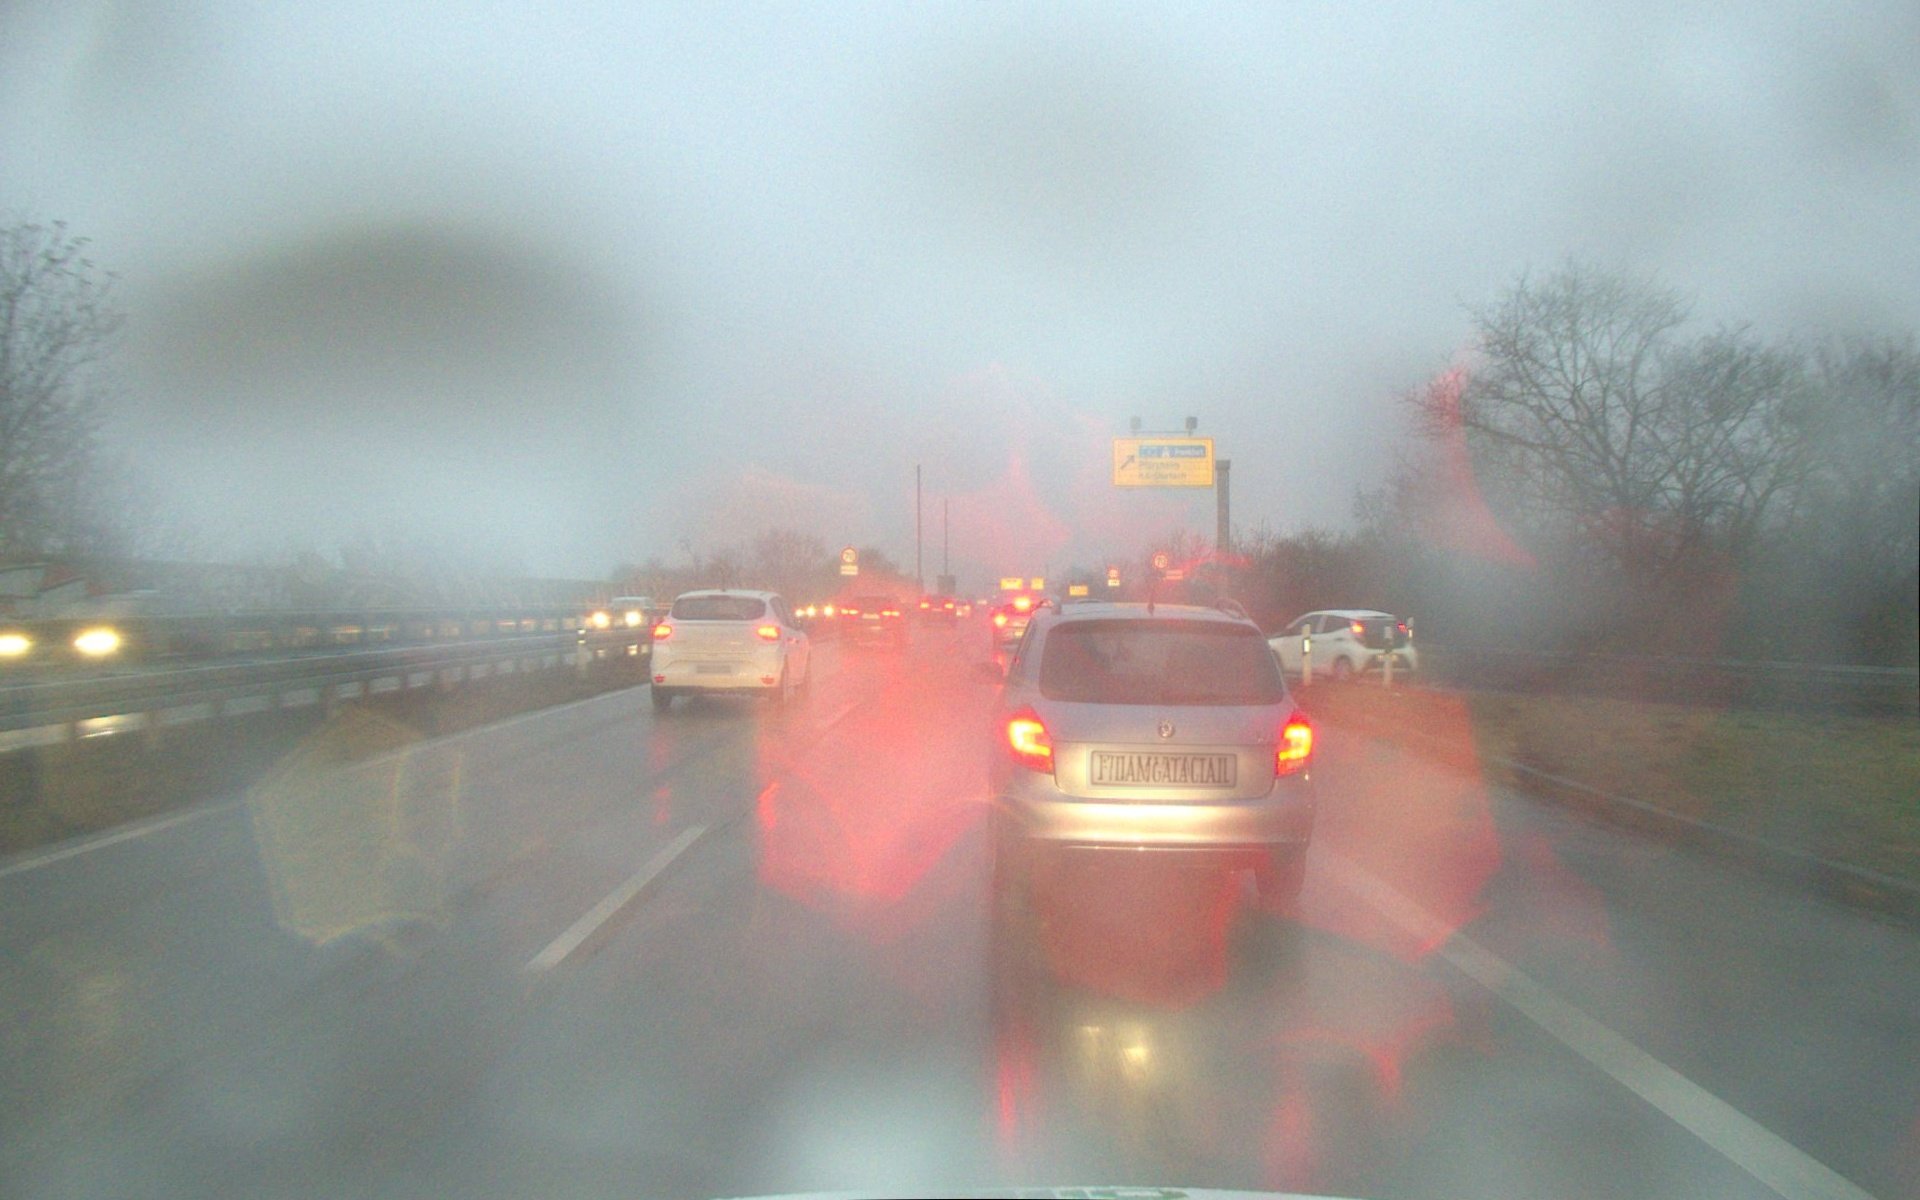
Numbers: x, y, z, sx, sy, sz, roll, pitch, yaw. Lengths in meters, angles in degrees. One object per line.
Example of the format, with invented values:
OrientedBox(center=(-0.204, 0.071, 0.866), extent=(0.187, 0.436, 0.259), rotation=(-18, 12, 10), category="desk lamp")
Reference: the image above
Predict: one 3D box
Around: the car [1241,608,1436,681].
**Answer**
OrientedBox(center=(7.683, 0.860, 33.905), extent=(1.967, 1.369, 3.971), rotation=(0, 0, -23), category="car")

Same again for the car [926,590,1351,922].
OrientedBox(center=(0.858, 0.730, 9.715), extent=(1.952, 1.527, 4.138), rotation=(0, 0, 1), category="car")

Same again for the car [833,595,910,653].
OrientedBox(center=(-2.609, 0.687, 49.535), extent=(1.952, 1.629, 4.309), rotation=(2, 0, 1), category="car")

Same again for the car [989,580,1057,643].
OrientedBox(center=(1.860, 0.324, 50.015), extent=(1.858, 1.798, 4.308), rotation=(0, 0, 0), category="car")

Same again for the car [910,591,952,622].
OrientedBox(center=(-1.488, 0.323, 85.941), extent=(1.751, 1.572, 4.002), rotation=(0, 0, 5), category="car")

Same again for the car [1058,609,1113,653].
OrientedBox(center=(4.789, 1.167, 63.744), extent=(1.753, 1.572, 3.999), rotation=(0, 0, -1), category="car")

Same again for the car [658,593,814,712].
OrientedBox(center=(-2.955, 0.639, 22.584), extent=(1.689, 1.465, 4.224), rotation=(0, 0, -2), category="car")

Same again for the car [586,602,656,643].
OrientedBox(center=(-14.073, 0.903, 68.857), extent=(1.801, 1.589, 4.684), rotation=(1, 0, 2), category="car")

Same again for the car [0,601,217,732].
OrientedBox(center=(-14.178, 1.011, 27.285), extent=(1.953, 1.952, 4.285), rotation=(1, 0, -2), category="car")
